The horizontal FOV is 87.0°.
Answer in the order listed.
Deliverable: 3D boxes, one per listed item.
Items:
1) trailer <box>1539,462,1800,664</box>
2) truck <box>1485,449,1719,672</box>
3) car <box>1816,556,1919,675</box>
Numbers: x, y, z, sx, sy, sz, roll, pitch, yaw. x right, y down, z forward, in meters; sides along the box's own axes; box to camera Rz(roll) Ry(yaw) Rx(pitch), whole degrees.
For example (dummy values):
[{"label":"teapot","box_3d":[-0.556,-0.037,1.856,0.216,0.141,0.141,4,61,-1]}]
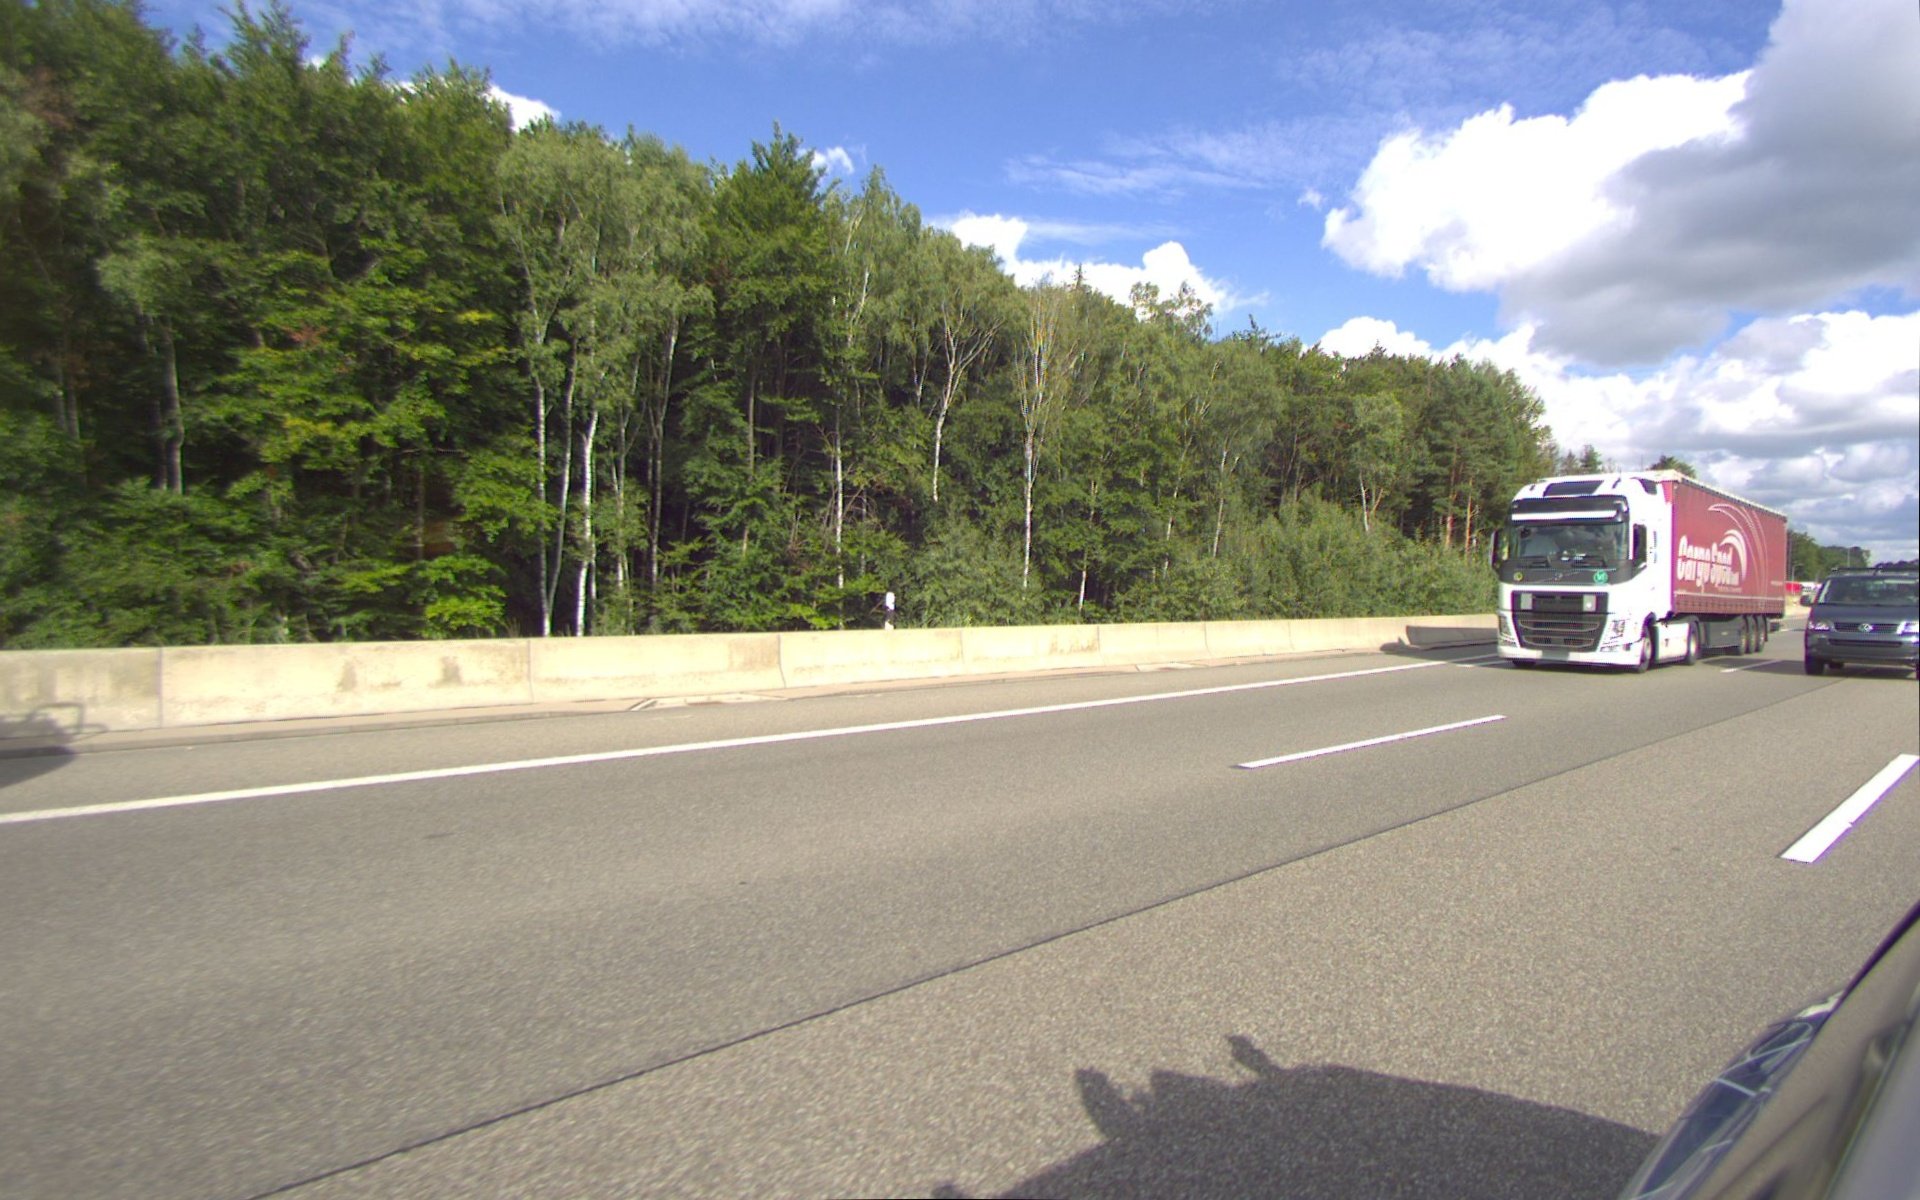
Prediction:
[{"label":"trailer","box_3d":[18.807,-0.786,26.173,13.481,4.096,2.777,0,1,-43]},{"label":"truck","box_3d":[13.807,-0.753,21.599,5.674,4.096,2.778,0,0,-42]},{"label":"car","box_3d":[18.697,0.269,20.158,4.847,2.136,1.852,0,0,-42]}]
